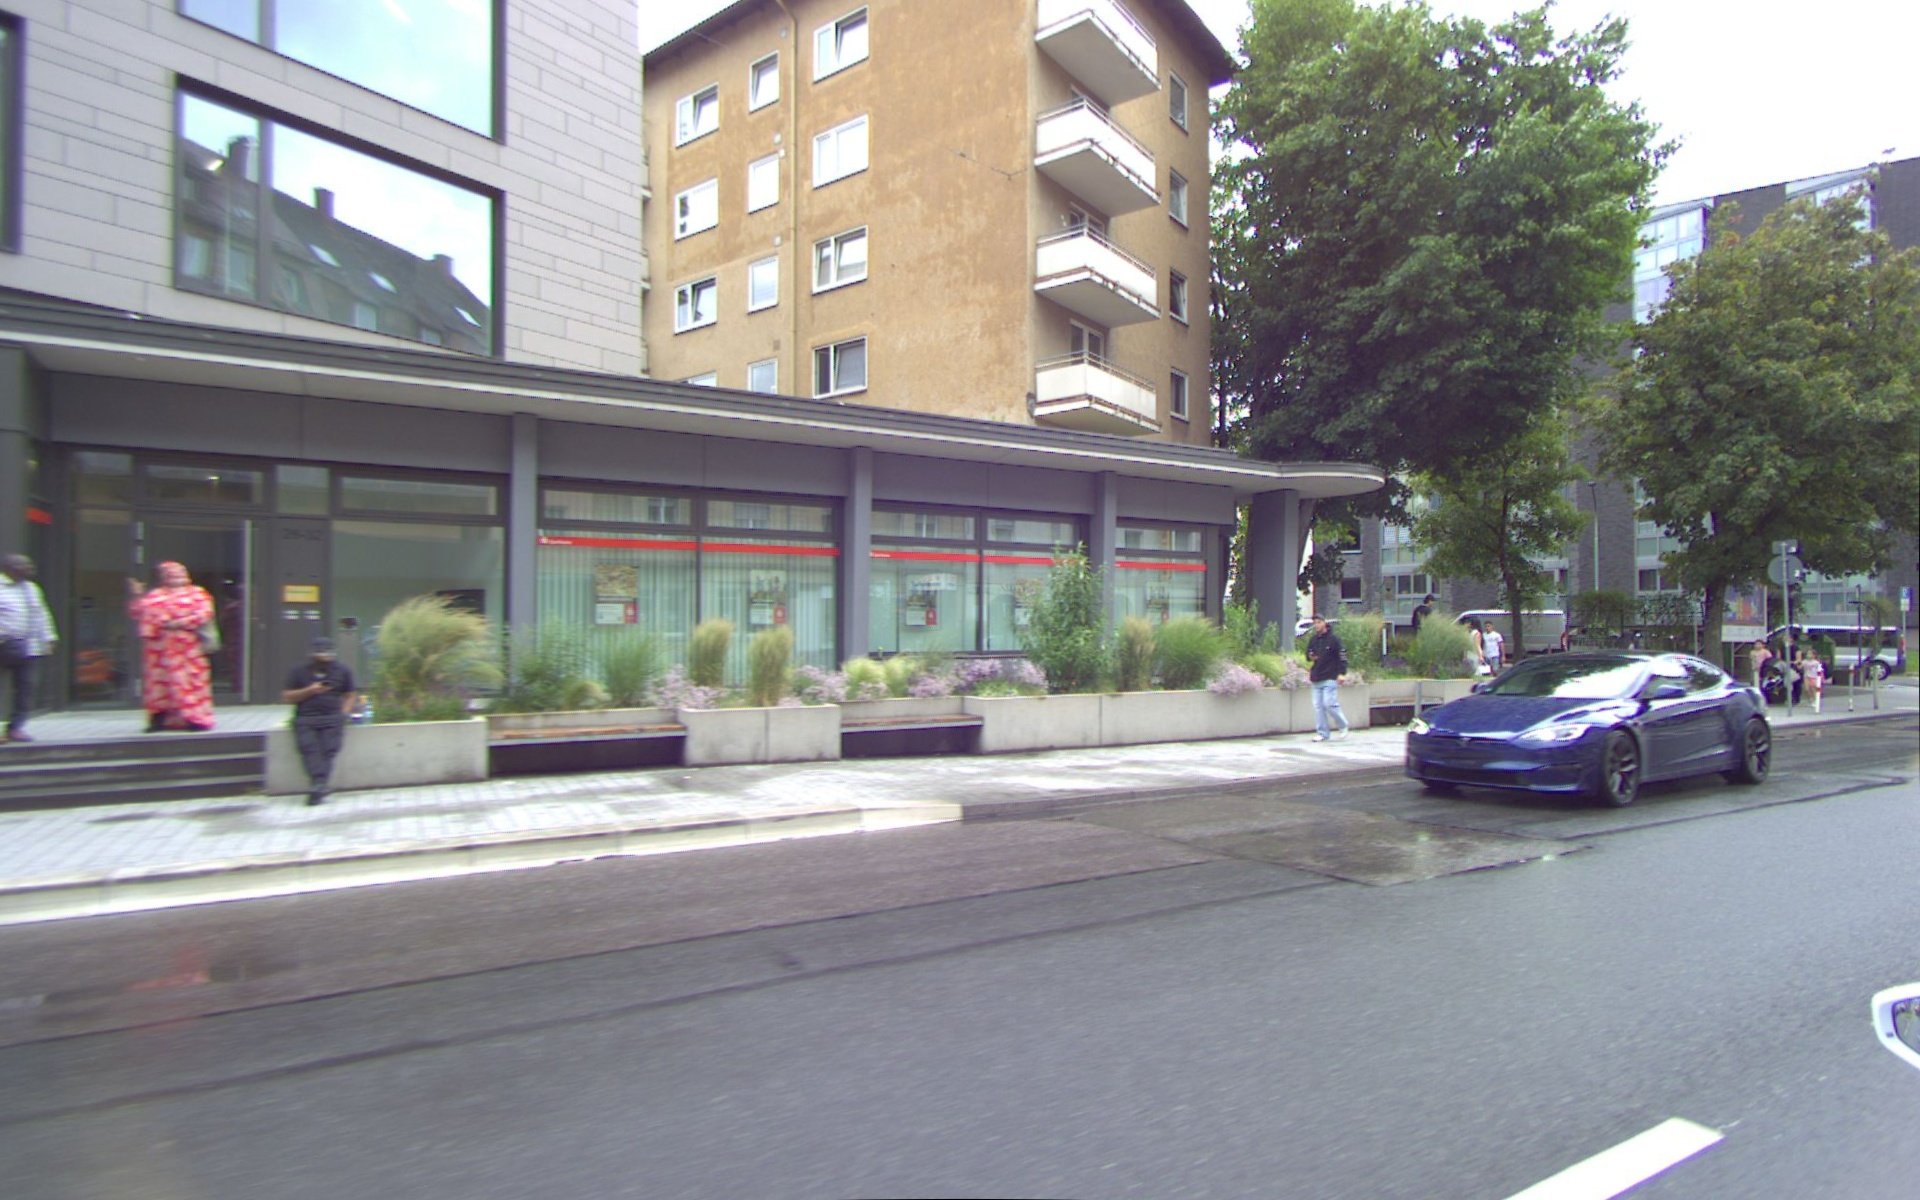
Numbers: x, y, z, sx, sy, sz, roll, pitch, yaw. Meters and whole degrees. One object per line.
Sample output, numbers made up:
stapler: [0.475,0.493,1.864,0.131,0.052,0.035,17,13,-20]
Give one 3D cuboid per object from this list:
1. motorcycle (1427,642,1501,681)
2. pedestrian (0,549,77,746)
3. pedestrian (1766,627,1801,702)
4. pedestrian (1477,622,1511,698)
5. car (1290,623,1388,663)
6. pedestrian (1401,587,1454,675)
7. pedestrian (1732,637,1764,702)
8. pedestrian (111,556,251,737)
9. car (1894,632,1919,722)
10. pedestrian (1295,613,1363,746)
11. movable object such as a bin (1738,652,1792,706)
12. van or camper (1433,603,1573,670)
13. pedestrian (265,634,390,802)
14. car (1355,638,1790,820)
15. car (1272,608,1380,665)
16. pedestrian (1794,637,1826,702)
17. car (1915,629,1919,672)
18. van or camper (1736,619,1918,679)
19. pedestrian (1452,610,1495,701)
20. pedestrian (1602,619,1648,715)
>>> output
motorcycle: [14.983,1.813,29.938,0.783,1.001,2.052,1,1,-15]
pedestrian: [-8.452,0.412,8.962,0.705,1.701,0.710,1,-1,-31]
pedestrian: [18.925,1.462,23.084,0.547,1.695,0.495,1,-1,-34]
pedestrian: [13.393,1.489,25.189,0.711,1.850,0.720,0,0,32]
car: [17.680,1.980,46.901,3.934,1.750,1.994,-1,-2,35]
pedestrian: [10.202,0.665,21.924,0.690,1.869,0.851,1,-2,-44]
pedestrian: [18.604,1.629,23.724,0.525,1.493,0.457,1,-1,-34]
pedestrian: [-7.594,0.448,9.825,0.784,1.701,0.713,0,-1,-2]
car: [18.945,1.370,18.214,4.197,1.577,1.944,1,-1,-32]
pedestrian: [5.343,1.124,14.546,0.713,1.850,0.718,0,0,41]
movable object such as a bin: [18.178,1.774,22.680,0.955,1.149,0.699,1,0,-34]
van or camper: [20.708,1.321,38.369,4.537,2.297,2.207,2,1,31]
pedestrian: [-5.669,1.033,9.026,0.710,1.439,0.592,0,-1,5]
car: [6.629,1.197,10.726,4.856,1.531,1.945,1,-3,-31]
car: [15.359,1.519,42.181,3.931,2.285,1.995,-1,-2,32]
pedestrian: [19.141,1.556,22.613,0.476,1.429,0.430,1,-1,-34]
car: [36.358,1.845,35.420,3.523,1.590,1.739,0,-1,27]
van or camper: [32.355,1.764,37.712,4.880,2.040,1.996,0,-1,31]
pedestrian: [10.308,1.092,20.157,0.646,1.782,0.718,-1,-1,37]
pedestrian: [13.350,1.321,20.167,0.712,1.850,0.851,0,0,37]
